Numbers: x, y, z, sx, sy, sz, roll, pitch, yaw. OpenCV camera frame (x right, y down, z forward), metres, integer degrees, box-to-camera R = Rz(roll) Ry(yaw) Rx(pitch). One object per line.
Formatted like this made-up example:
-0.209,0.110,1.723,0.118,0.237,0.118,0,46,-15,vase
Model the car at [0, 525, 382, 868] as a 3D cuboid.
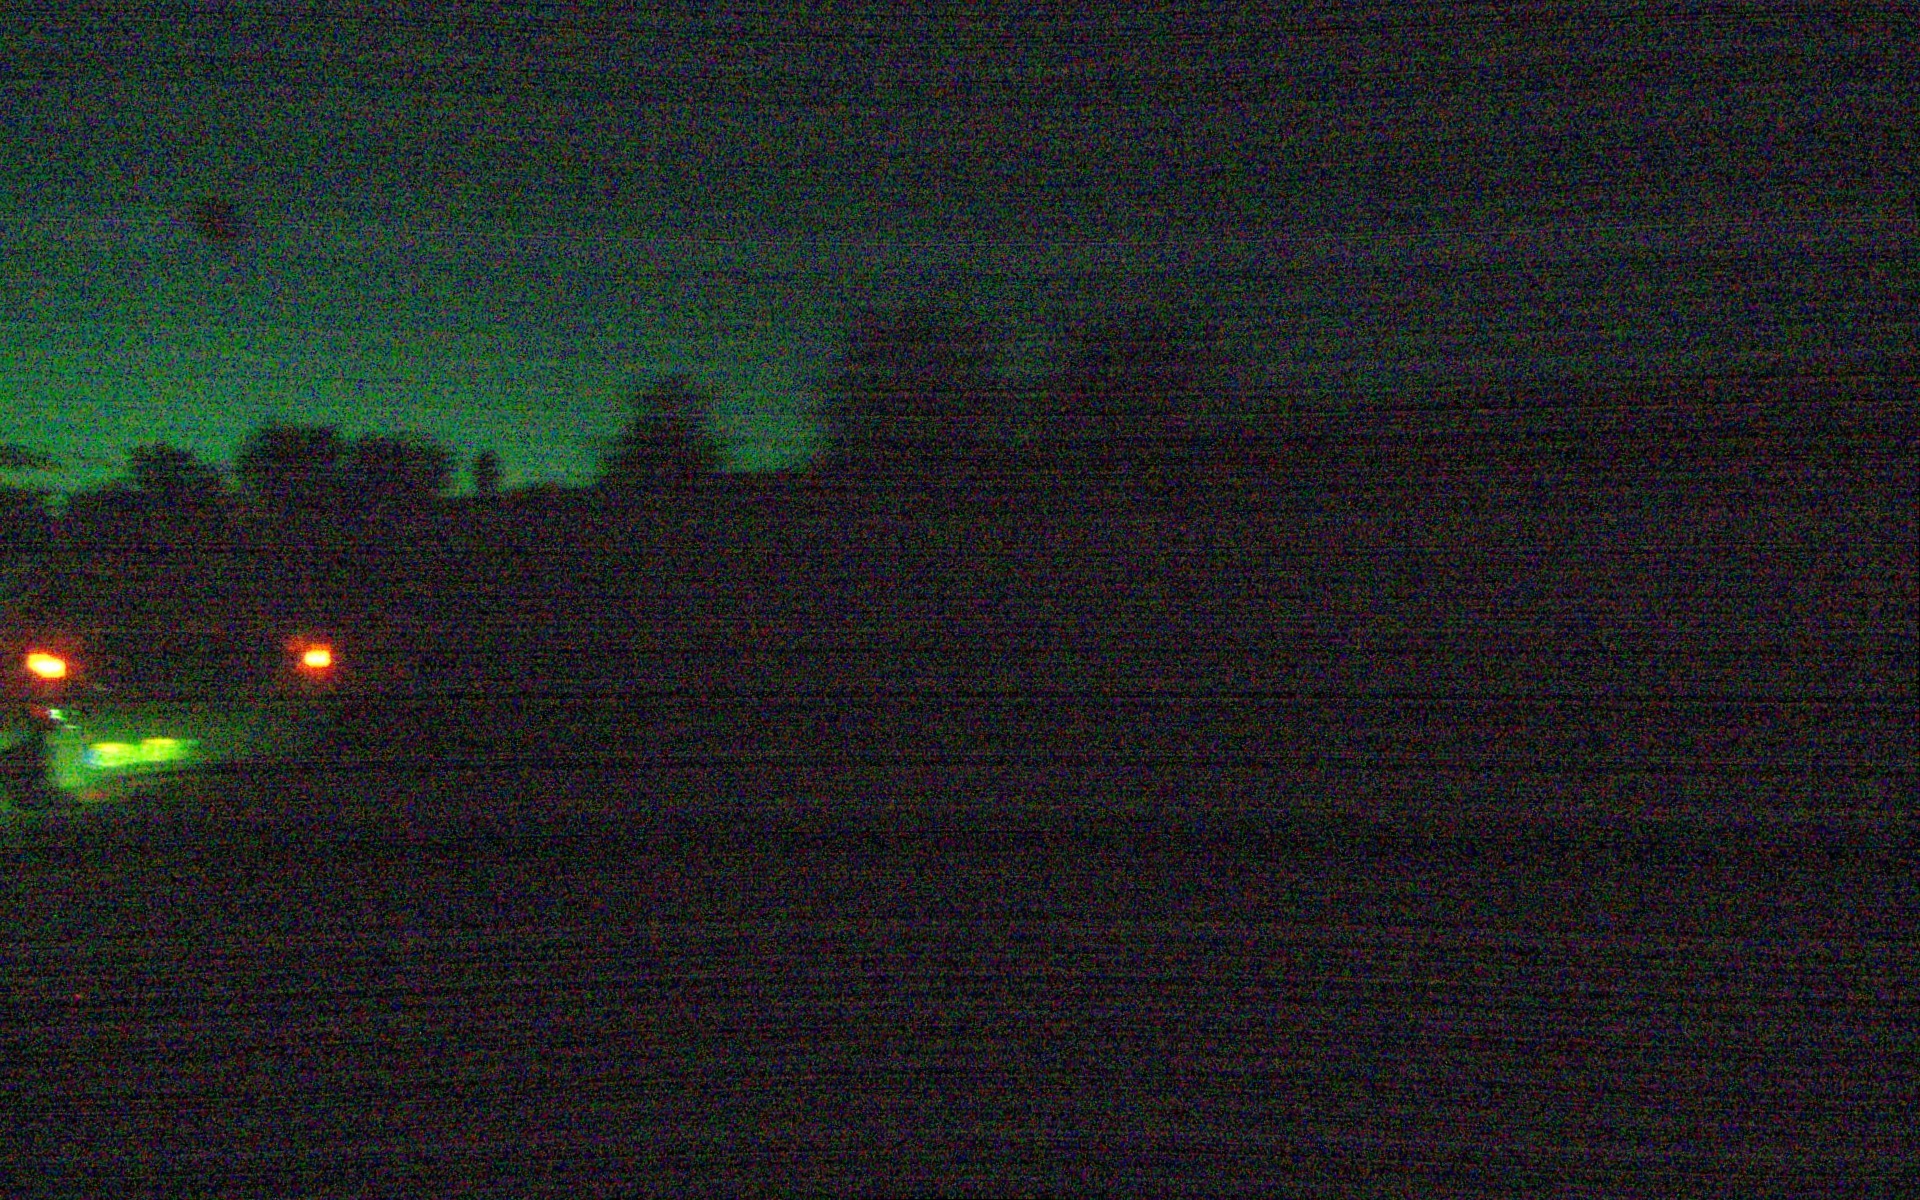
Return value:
-7.383,0.655,8.323,5.583,2.026,2.112,-1,-2,32,car
